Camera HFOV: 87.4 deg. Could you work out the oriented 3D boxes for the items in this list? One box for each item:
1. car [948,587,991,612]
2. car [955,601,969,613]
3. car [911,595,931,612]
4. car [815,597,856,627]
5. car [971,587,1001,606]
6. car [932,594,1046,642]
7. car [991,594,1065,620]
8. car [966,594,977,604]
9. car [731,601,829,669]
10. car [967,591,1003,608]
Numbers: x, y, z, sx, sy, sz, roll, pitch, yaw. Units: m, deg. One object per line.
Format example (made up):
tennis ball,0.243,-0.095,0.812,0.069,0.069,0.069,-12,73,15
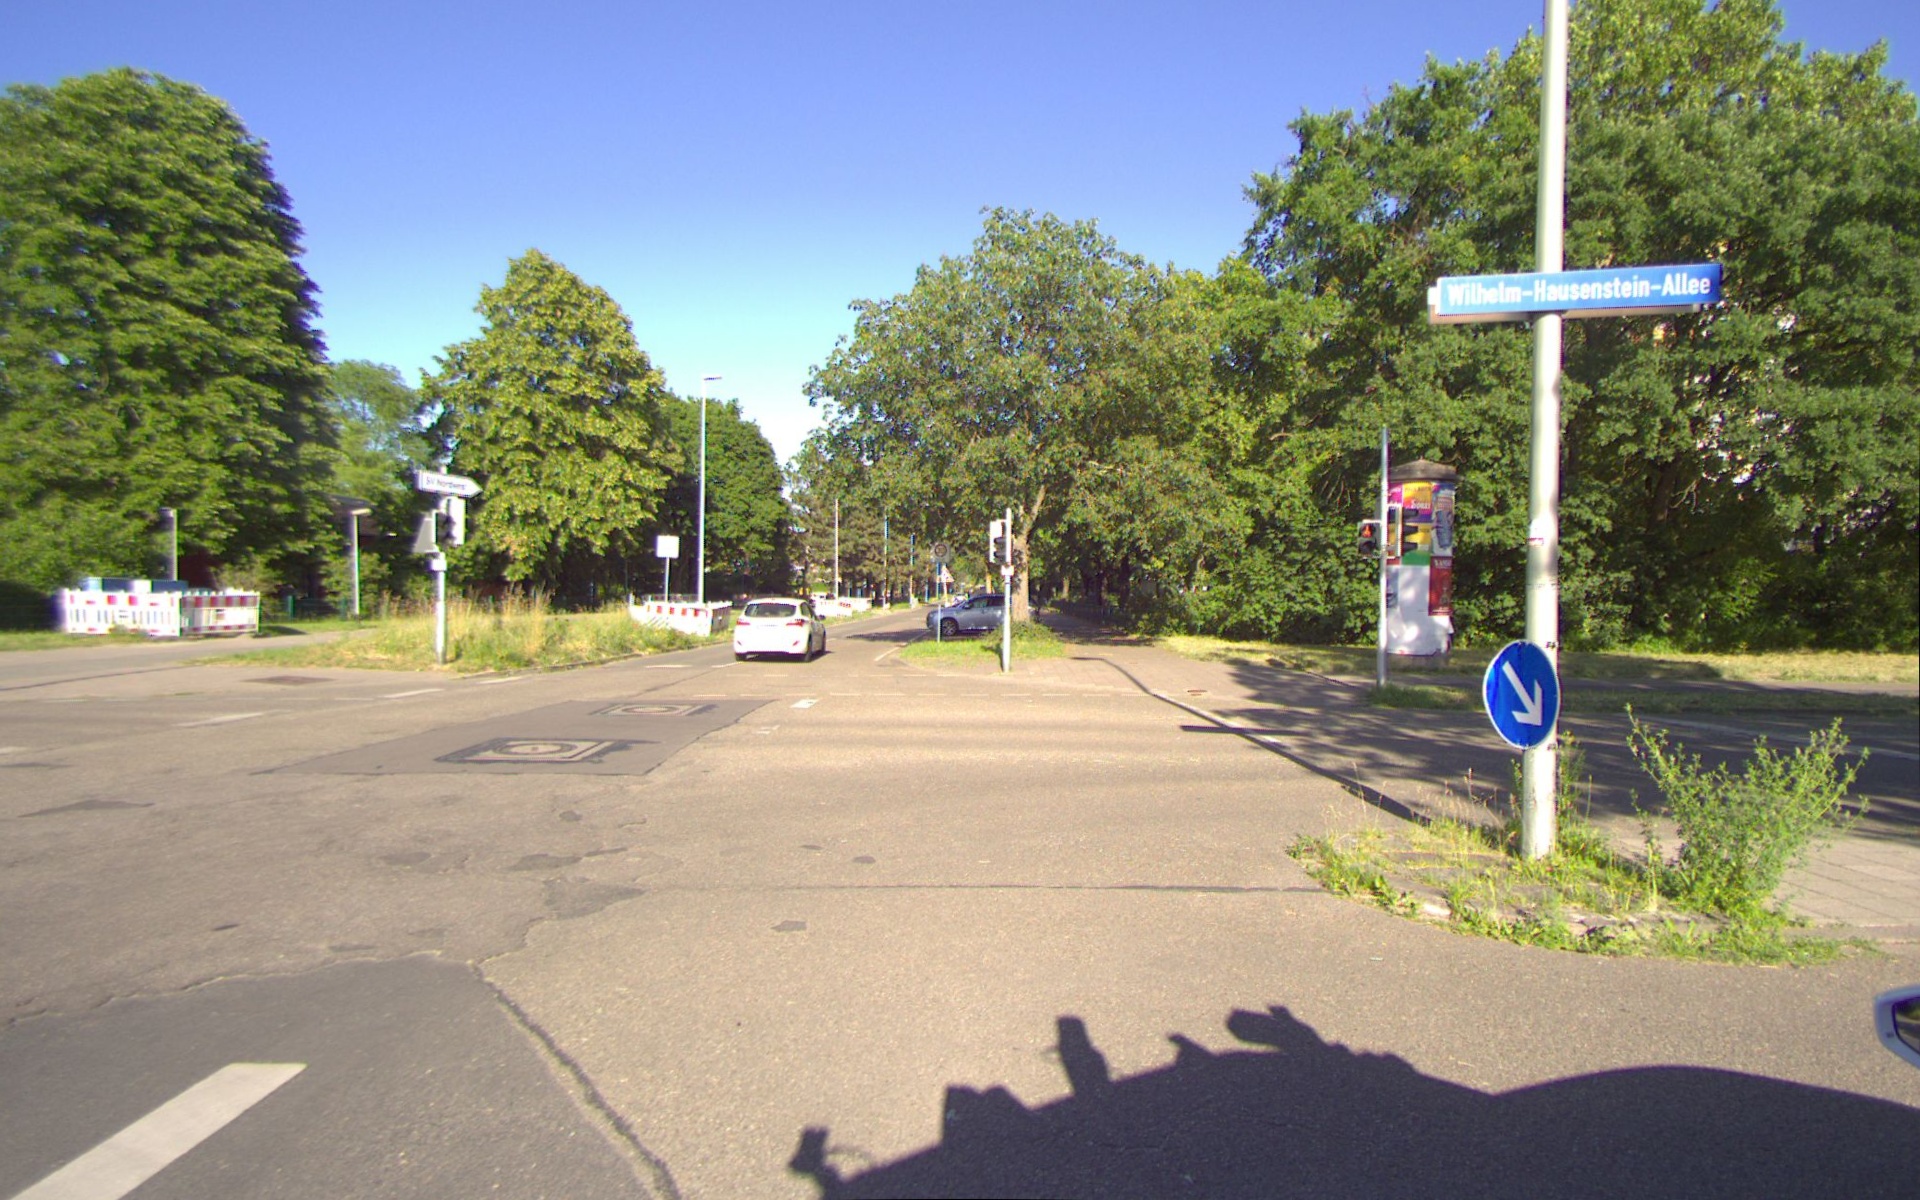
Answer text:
car,0.885,-0.025,92.179,3.755,2.126,1.864,2,0,2
car,0.398,1.104,156.512,1.960,1.840,4.001,3,0,2
car,-4.375,0.431,112.968,1.960,1.840,4.001,2,0,2
car,-7.974,0.762,64.437,1.960,1.840,4.001,1,0,2
car,3.395,-0.454,130.878,3.755,2.329,1.864,2,0,2
car,1.180,0.682,40.142,4.422,1.806,1.855,1,0,4
car,5.103,0.533,76.006,5.520,1.706,1.948,2,0,2
car,2.170,-0.175,194.314,1.960,1.840,4.001,2,0,2
car,-4.350,0.798,24.845,1.760,1.483,3.962,1,0,-1
car,2.983,-0.059,119.450,4.230,1.933,1.864,2,0,2
